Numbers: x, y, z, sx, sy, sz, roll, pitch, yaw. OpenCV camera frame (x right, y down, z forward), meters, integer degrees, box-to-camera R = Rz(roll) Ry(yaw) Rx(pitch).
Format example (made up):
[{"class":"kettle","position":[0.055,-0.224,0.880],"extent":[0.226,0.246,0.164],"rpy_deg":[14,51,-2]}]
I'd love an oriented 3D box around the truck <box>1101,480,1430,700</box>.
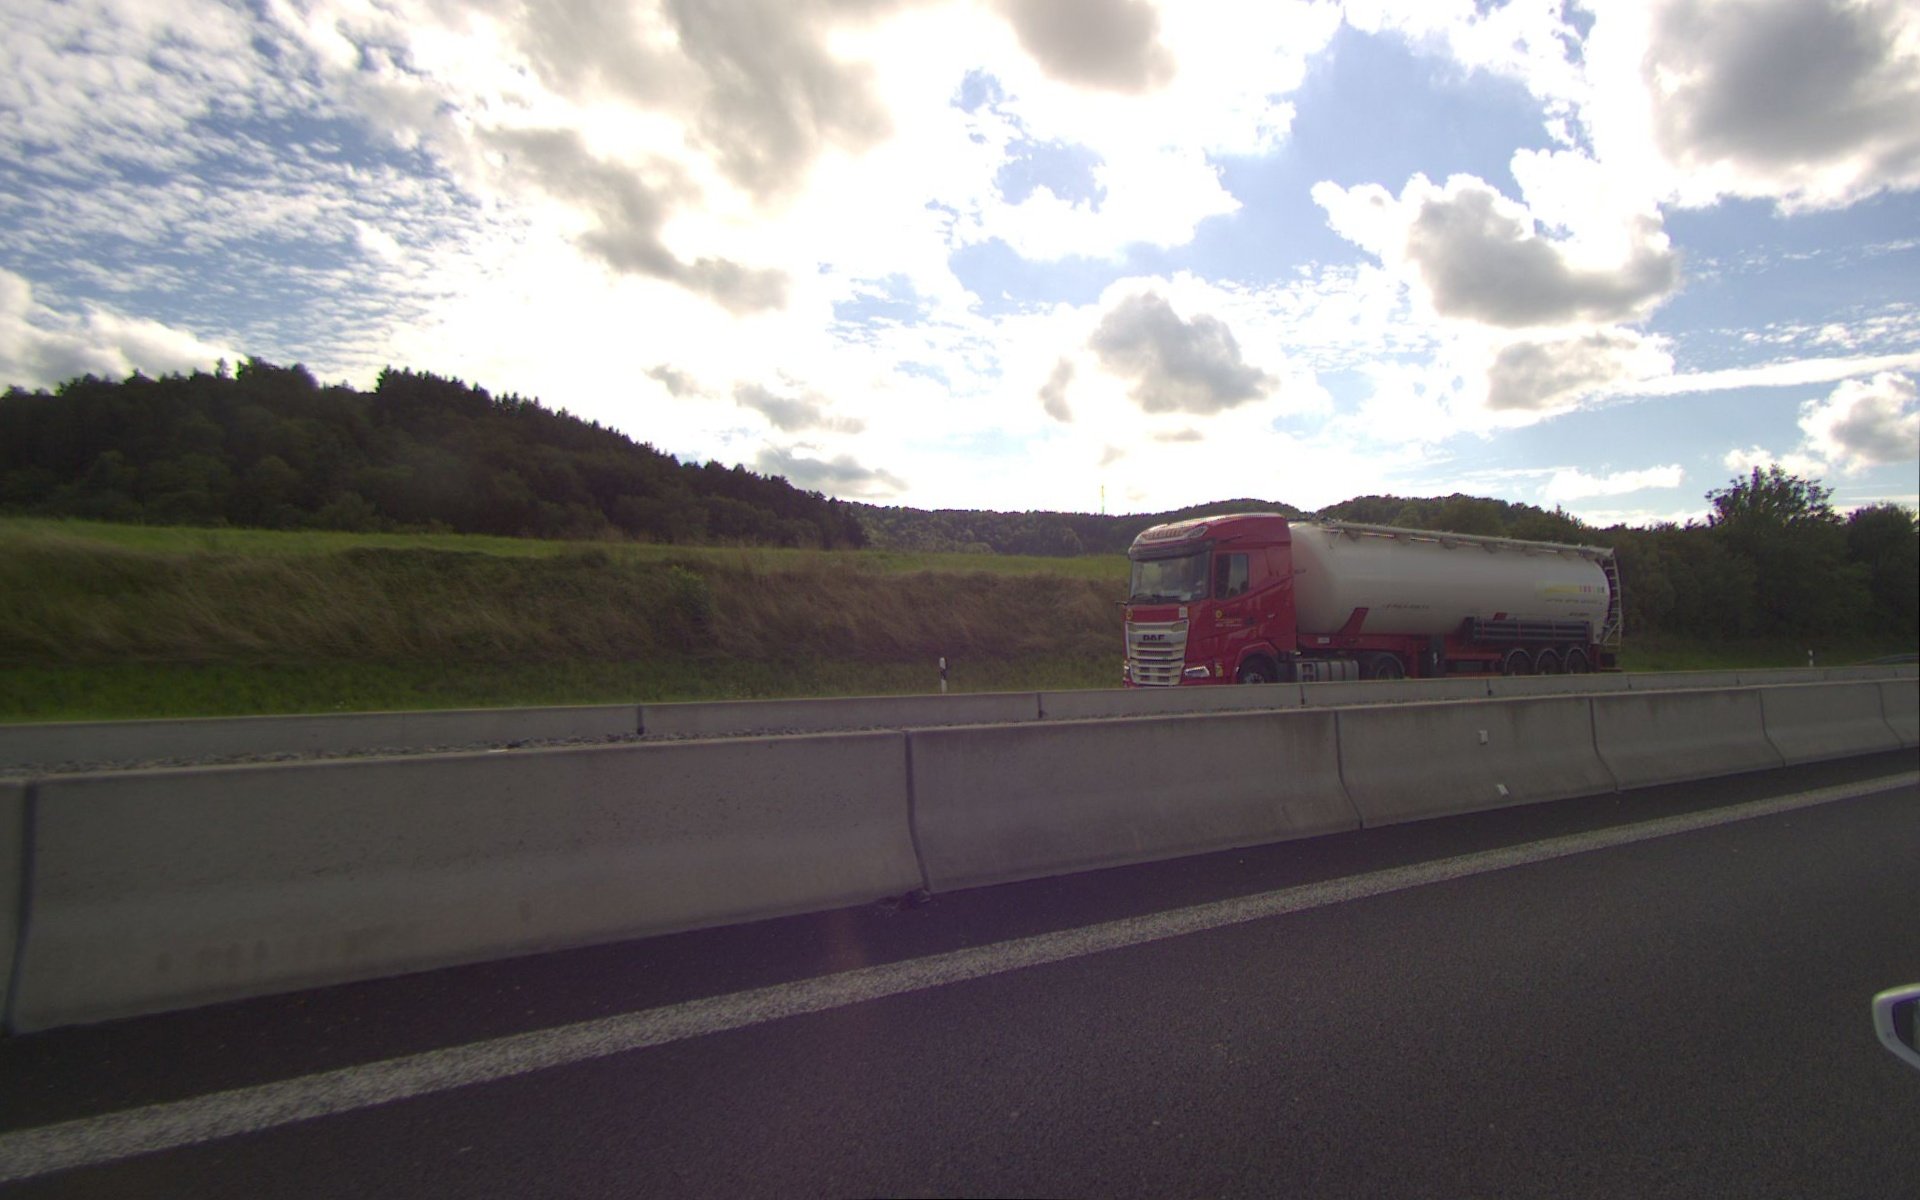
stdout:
[{"class":"truck","position":[6.487,-0.063,21.059],"extent":[6.820,3.976,2.725],"rpy_deg":[2,-2,-30]}]

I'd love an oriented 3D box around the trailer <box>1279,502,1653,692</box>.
[{"class":"trailer","position":[12.783,0.117,24.785],"extent":[11.030,3.938,2.701],"rpy_deg":[2,-3,-31]}]
